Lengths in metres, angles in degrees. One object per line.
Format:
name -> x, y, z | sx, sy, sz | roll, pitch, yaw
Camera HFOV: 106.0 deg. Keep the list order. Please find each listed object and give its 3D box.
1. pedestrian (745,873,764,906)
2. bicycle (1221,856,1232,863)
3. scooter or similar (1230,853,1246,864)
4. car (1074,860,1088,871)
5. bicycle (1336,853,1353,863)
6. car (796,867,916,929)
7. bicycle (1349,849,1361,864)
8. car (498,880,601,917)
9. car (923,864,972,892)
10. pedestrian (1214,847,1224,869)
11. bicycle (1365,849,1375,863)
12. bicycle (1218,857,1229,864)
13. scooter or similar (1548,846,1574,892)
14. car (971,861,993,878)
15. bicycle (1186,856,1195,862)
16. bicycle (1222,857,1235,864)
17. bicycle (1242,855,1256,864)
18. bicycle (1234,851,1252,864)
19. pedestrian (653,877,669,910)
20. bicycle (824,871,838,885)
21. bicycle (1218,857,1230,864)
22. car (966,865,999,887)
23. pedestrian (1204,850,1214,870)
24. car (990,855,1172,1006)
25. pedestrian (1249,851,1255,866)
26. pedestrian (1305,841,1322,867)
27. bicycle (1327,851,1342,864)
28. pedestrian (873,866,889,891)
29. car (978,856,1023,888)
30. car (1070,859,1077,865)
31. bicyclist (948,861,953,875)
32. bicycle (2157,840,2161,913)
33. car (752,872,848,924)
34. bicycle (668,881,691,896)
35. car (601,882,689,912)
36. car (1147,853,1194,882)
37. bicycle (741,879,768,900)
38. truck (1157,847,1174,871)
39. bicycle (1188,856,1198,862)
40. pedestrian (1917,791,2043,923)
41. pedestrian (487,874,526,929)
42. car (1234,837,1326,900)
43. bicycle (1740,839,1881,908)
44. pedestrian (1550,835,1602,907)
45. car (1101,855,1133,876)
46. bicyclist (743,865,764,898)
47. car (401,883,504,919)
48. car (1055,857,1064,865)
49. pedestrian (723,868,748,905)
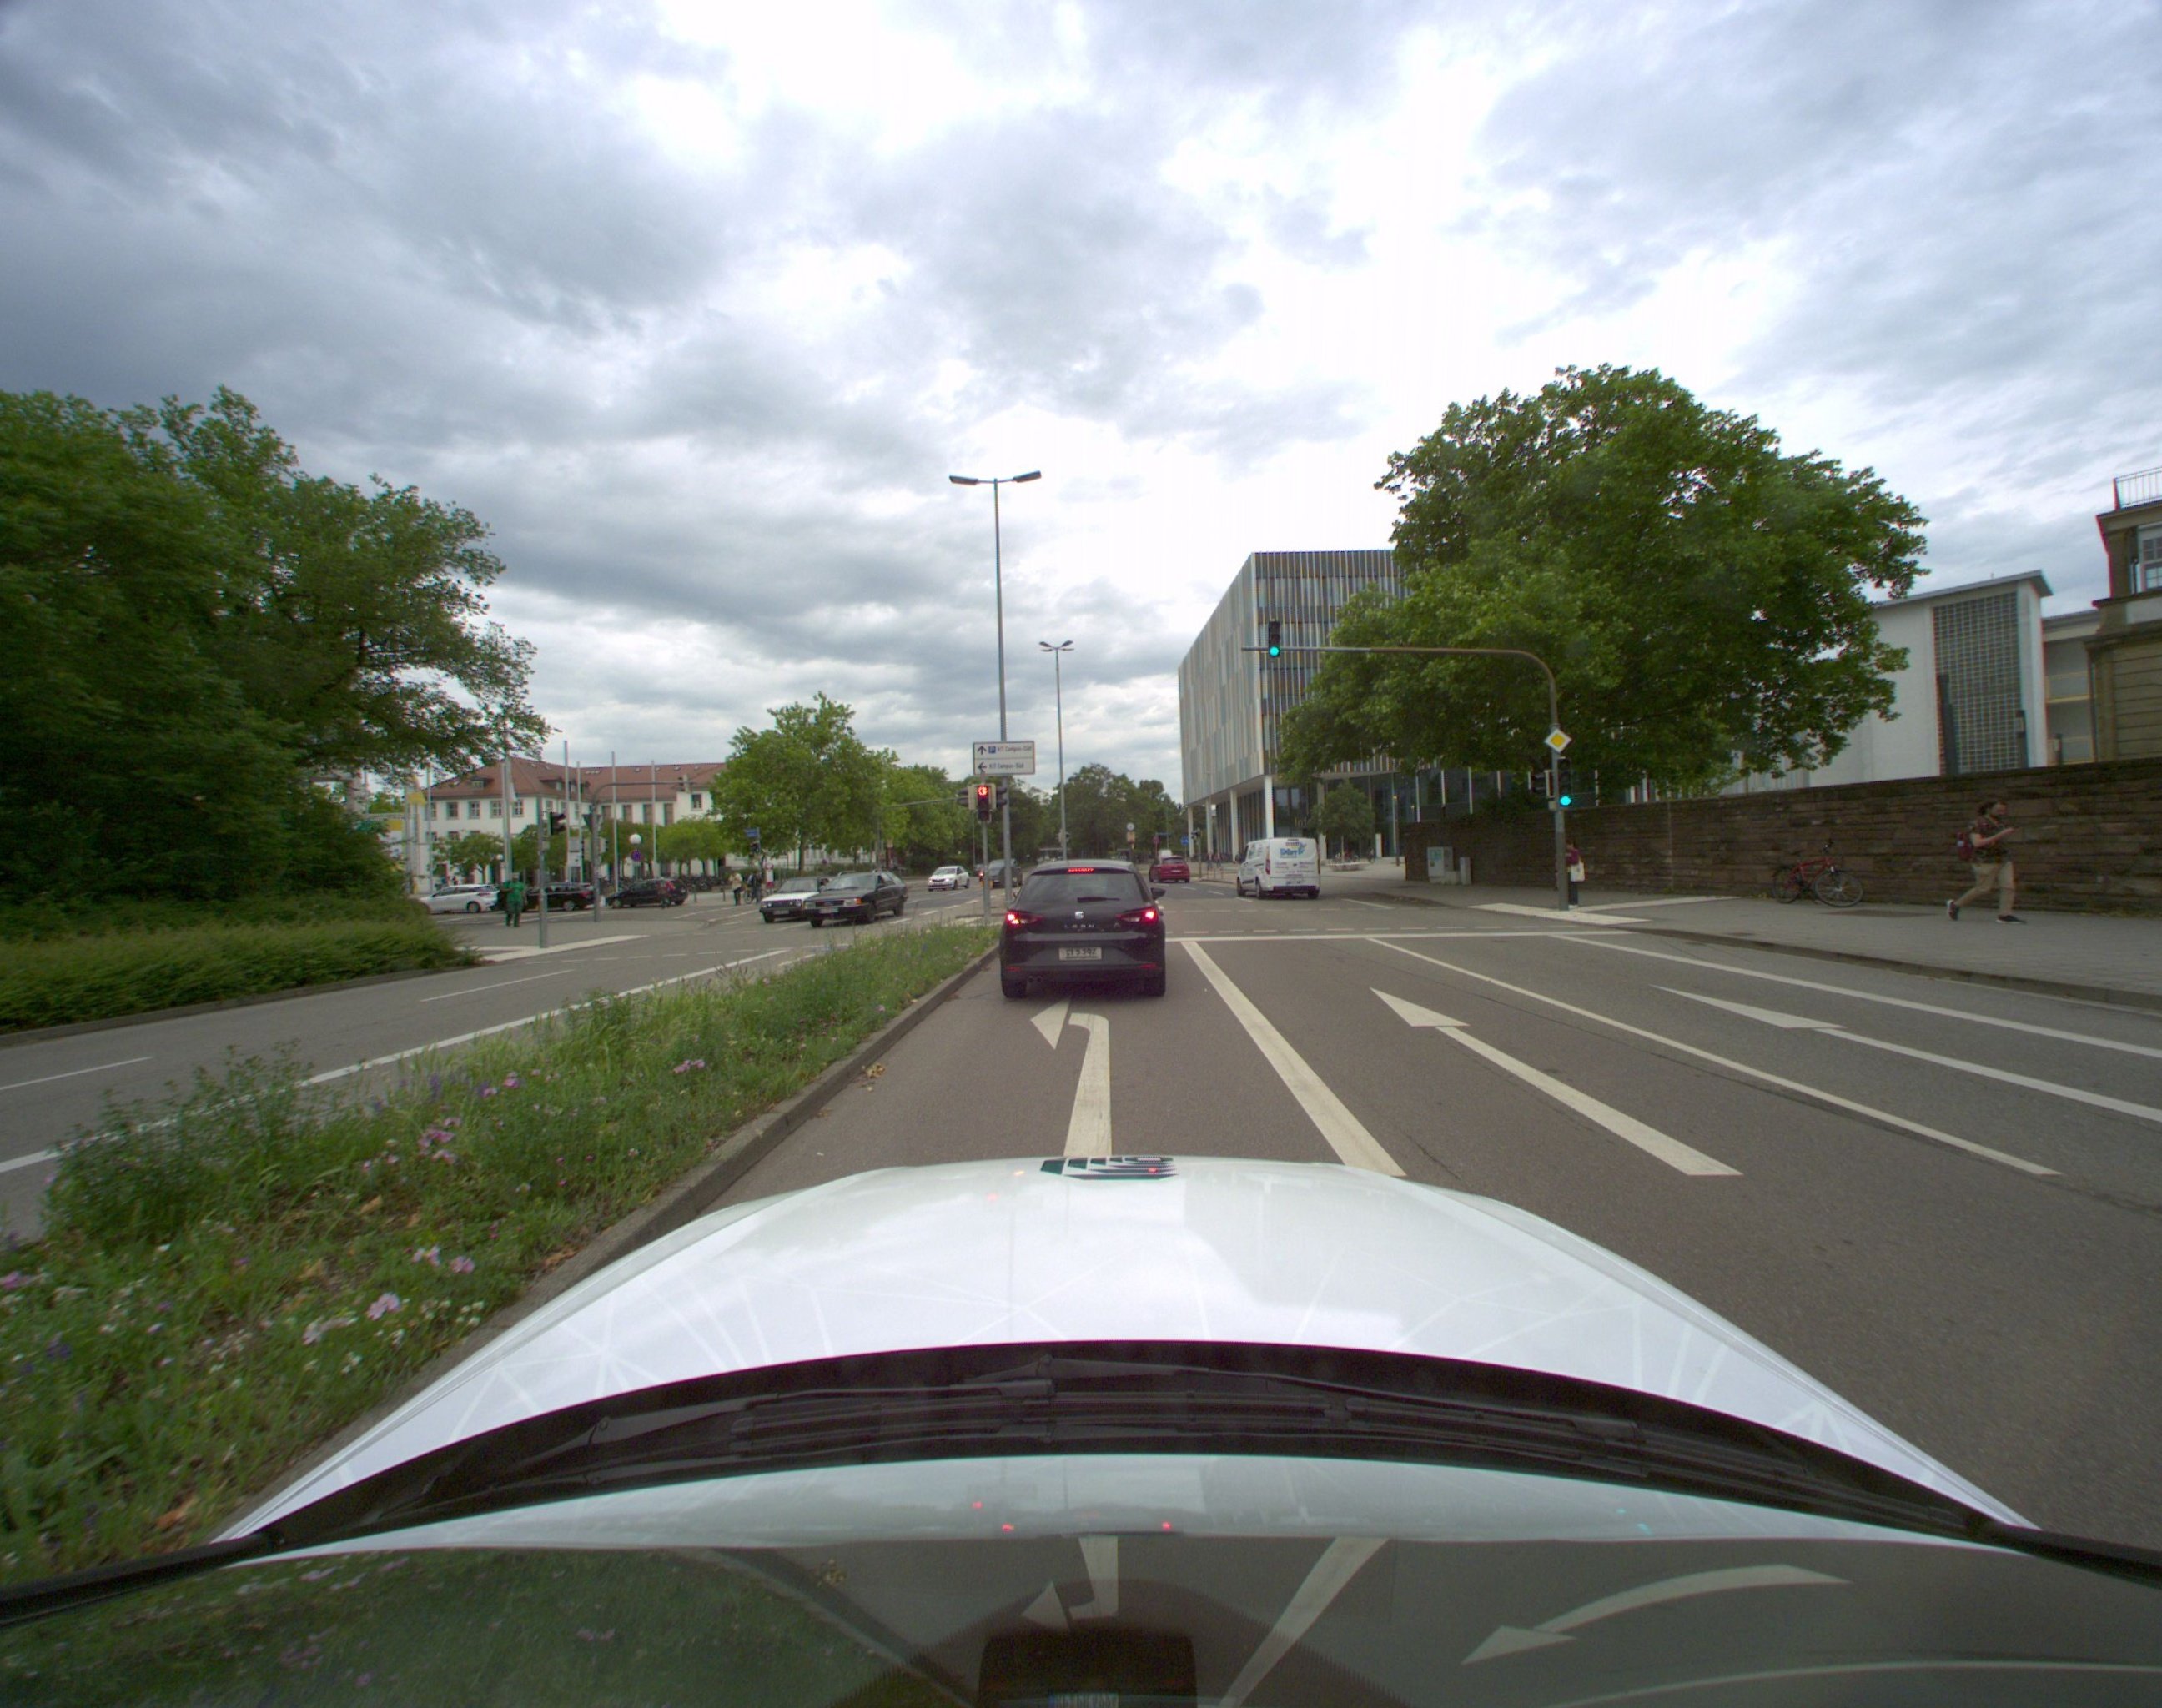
pedestrian -> -15.749, 1.718, 39.300 | 0.791, 1.558, 0.695 | -2, -4, -18
bicycle -> 16.784, 0.669, 93.901 | 1.266, 0.705, 0.486 | -4, 0, 8
scooter or similar -> 16.334, 0.474, 84.654 | 1.681, 1.106, 0.494 | -4, 0, -30
car -> 0.008, 1.618, 117.037 | 1.894, 1.354, 3.880 | -4, 0, -1
bicycle -> 21.632, 0.341, 66.848 | 1.535, 0.716, 0.513 | -4, 0, -41
car -> -6.337, 1.177, 23.531 | 1.756, 1.460, 4.796 | -4, -1, 4
bicycle -> 22.120, 0.198, 65.769 | 0.802, 1.056, 1.959 | -4, 0, 22
car -> -27.197, 2.275, 41.801 | 4.058, 1.452, 1.615 | -3, 5, -16
car -> -8.072, 1.446, 49.634 | 1.696, 1.431, 4.236 | -4, 0, 7
pedestrian -> 11.285, 0.313, 66.776 | 0.684, 1.781, 0.677 | -2, 0, 2
bicycle -> 22.993, 0.138, 64.819 | 0.616, 1.056, 1.959 | -4, 0, 22
bicycle -> 16.279, 0.716, 93.233 | 1.232, 0.705, 0.490 | -4, 0, 10
scooter or similar -> 13.386, 0.401, 22.733 | 0.428, 1.179, 1.714 | -4, 0, 26
car -> -11.319, 1.787, 93.372 | 1.899, 1.717, 4.002 | -4, 0, 2
bicycle -> 15.485, 0.731, 115.424 | 1.262, 0.848, 0.479 | 1, -2, -20
bicycle -> 16.396, 0.690, 90.539 | 1.368, 0.705, 0.417 | -4, 0, 4
bicycle -> 16.999, 0.577, 82.348 | 1.445, 0.857, 0.362 | -4, 0, -25
bicycle -> 16.716, 0.336, 84.066 | 1.784, 1.211, 0.564 | -4, 0, -32
pedestrian -> -20.252, 1.911, 39.319 | 0.572, 1.527, 0.842 | -2, -5, -22
bicycle -> -20.505, 1.967, 66.893 | 0.606, 1.060, 2.041 | -3, 0, -4
bicycle -> 16.199, 0.734, 92.342 | 1.366, 0.705, 0.490 | -4, 0, 10
car -> -7.587, 1.673, 63.043 | 1.706, 1.418, 4.299 | -3, 0, 4
pedestrian -> 10.467, 0.461, 66.706 | 0.684, 1.640, 0.633 | -1, 0, 1
car -> 0.140, 0.747, 9.757 | 1.745, 1.432, 3.774 | -1, 0, 4
pedestrian -> 15.742, 0.427, 75.078 | 0.469, 1.361, 0.447 | -3, 0, 12
pedestrian -> 16.241, 0.027, 56.941 | 0.844, 1.765, 0.768 | -3, 0, 1
bicycle -> 21.036, 0.298, 67.564 | 0.688, 0.946, 1.997 | -4, 0, 32
pedestrian -> -13.078, 1.585, 53.197 | 0.873, 1.586, 0.542 | -3, 0, -5
car -> -4.599, 1.024, 47.182 | 1.913, 1.664, 4.401 | -4, -1, 2
car -> -1.727, 1.757, 182.226 | 1.501, 1.193, 3.161 | -4, 0, -1
bicyclist -> -15.560, 1.681, 97.034 | 0.489, 1.624, 0.588 | -1, 1, -2
bicycle -> 14.652, 0.317, 9.712 | 0.941, 1.073, 1.961 | -4, 0, -13
car -> -9.061, 1.388, 26.593 | 1.601, 1.381, 3.810 | -4, 0, 2
bicycle -> -30.629, 2.609, 62.163 | 1.405, 1.052, 0.585 | -4, 0, -19
car -> -22.767, 2.226, 42.665 | 3.649, 1.223, 1.562 | -2, 7, -5
car -> 5.267, 0.771, 48.293 | 1.947, 1.624, 3.740 | -1, 0, -7
bicycle -> -16.786, 1.826, 41.870 | 1.599, 1.062, 0.672 | -2, -2, 42
truck -> 8.342, 0.498, 80.184 | 1.313, 2.243, 3.403 | -3, 0, 2
bicycle -> 15.606, 0.673, 113.250 | 1.239, 0.823, 0.479 | 0, -1, -20
pedestrian -> 13.187, 0.038, 11.986 | 0.629, 1.821, 1.033 | -3, 0, 2
pedestrian -> -18.859, 1.542, 26.747 | 0.948, 1.759, 0.865 | 0, -2, -42
car -> 6.653, 0.445, 27.722 | 1.961, 1.972, 4.341 | 0, 0, -2
bicycle -> 13.821, 0.349, 15.517 | 0.801, 1.174, 1.952 | -5, 0, -3
pedestrian -> 11.299, 0.380, 18.618 | 0.657, 1.561, 0.636 | -6, 0, 1
car -> 3.073, 1.004, 70.403 | 1.914, 1.664, 4.102 | -4, 0, -9
bicyclist -> -16.877, 1.416, 41.948 | 0.949, 1.635, 0.672 | -2, -2, 42
car -> -32.601, 2.437, 42.310 | 3.868, 1.539, 1.685 | -2, 2, -2
car -> -4.619, 1.455, 173.464 | 1.692, 1.503, 4.003 | -4, 0, -4
pedestrian -> -17.067, 1.631, 40.233 | 0.826, 1.740, 0.841 | -3, -5, -4
